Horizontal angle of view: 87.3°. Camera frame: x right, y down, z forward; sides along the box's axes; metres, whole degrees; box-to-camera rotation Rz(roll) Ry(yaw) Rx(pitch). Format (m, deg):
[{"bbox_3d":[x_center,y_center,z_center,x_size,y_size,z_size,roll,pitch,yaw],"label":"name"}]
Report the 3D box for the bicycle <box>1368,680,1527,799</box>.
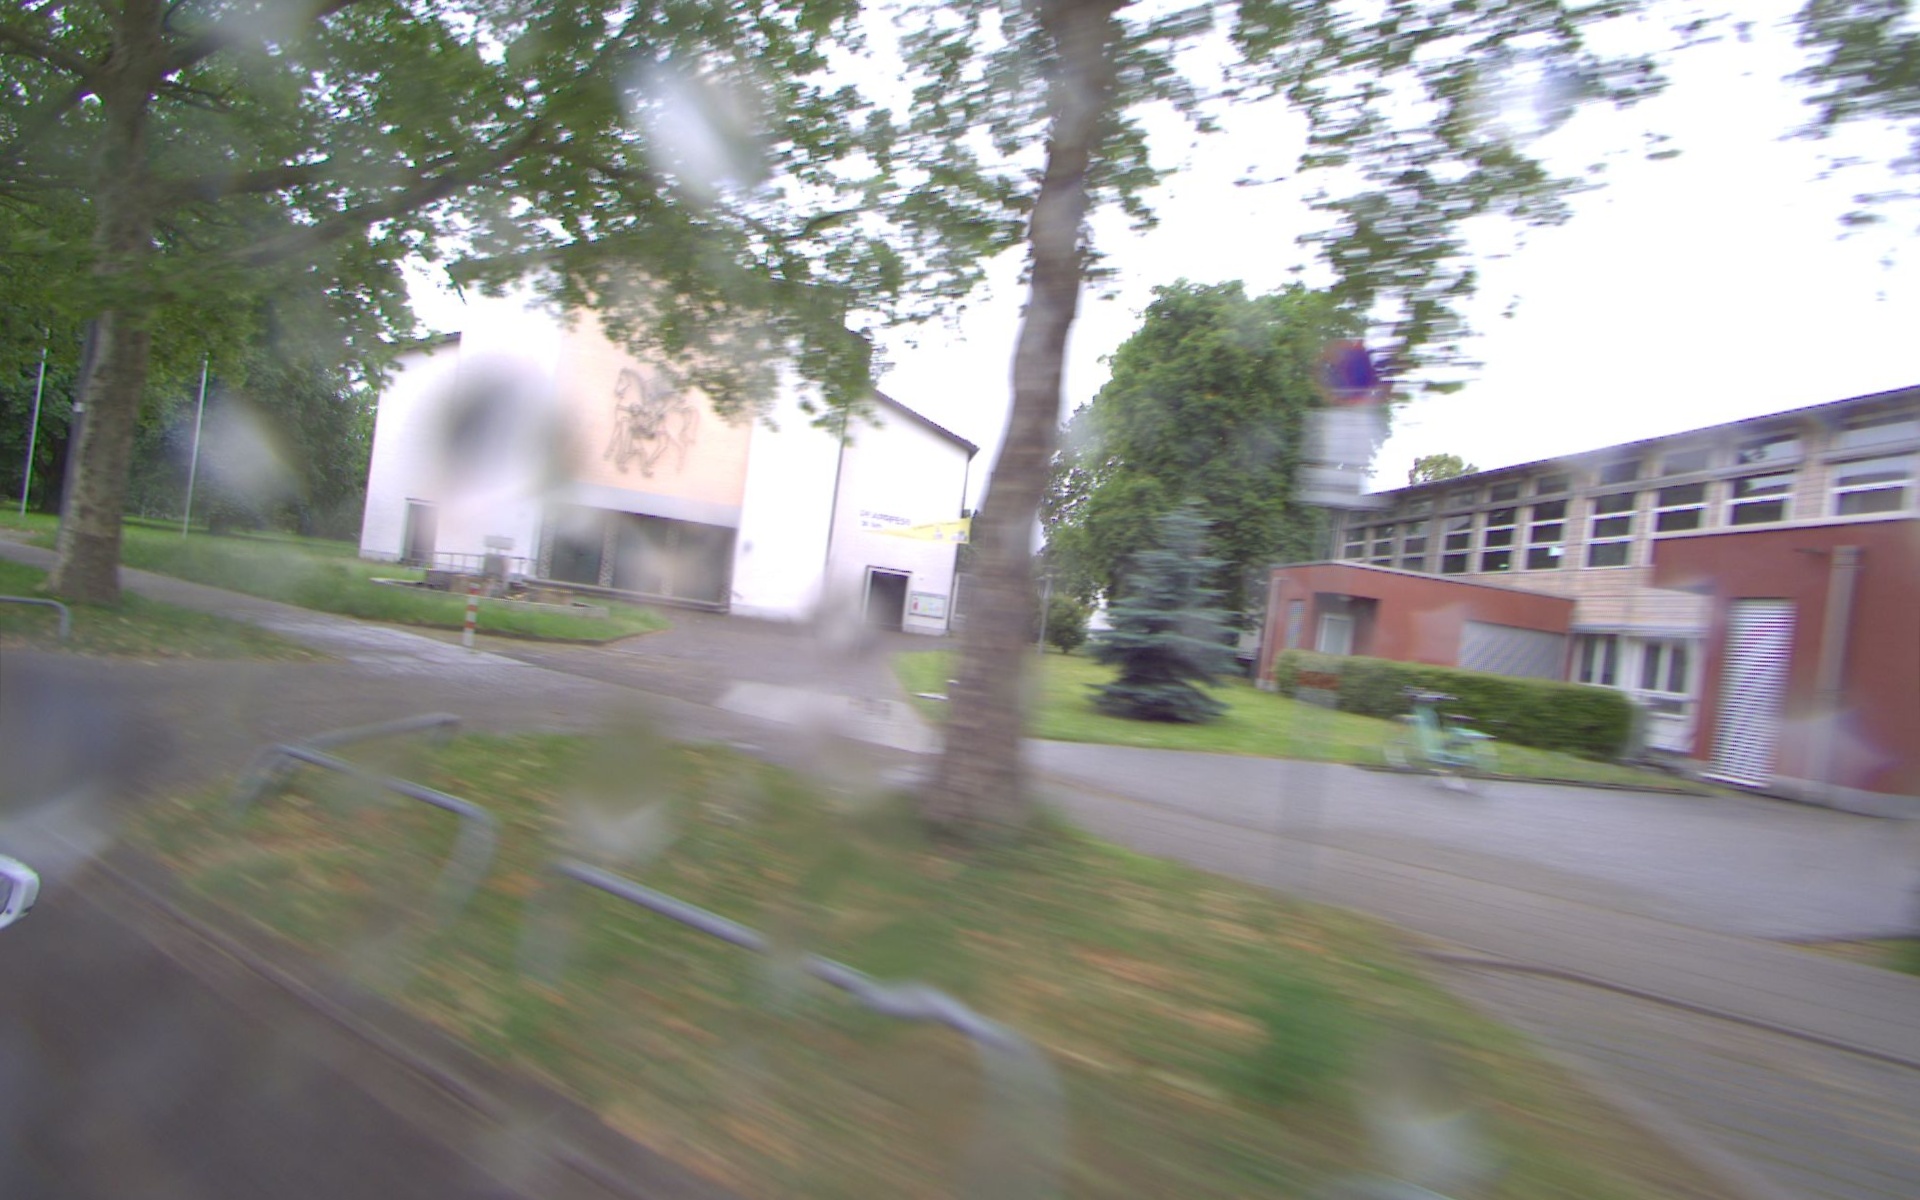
[{"bbox_3d":[6.058,1.703,12.661,0.457,1.105,2.037,6,1,-15],"label":"bicycle"}]
